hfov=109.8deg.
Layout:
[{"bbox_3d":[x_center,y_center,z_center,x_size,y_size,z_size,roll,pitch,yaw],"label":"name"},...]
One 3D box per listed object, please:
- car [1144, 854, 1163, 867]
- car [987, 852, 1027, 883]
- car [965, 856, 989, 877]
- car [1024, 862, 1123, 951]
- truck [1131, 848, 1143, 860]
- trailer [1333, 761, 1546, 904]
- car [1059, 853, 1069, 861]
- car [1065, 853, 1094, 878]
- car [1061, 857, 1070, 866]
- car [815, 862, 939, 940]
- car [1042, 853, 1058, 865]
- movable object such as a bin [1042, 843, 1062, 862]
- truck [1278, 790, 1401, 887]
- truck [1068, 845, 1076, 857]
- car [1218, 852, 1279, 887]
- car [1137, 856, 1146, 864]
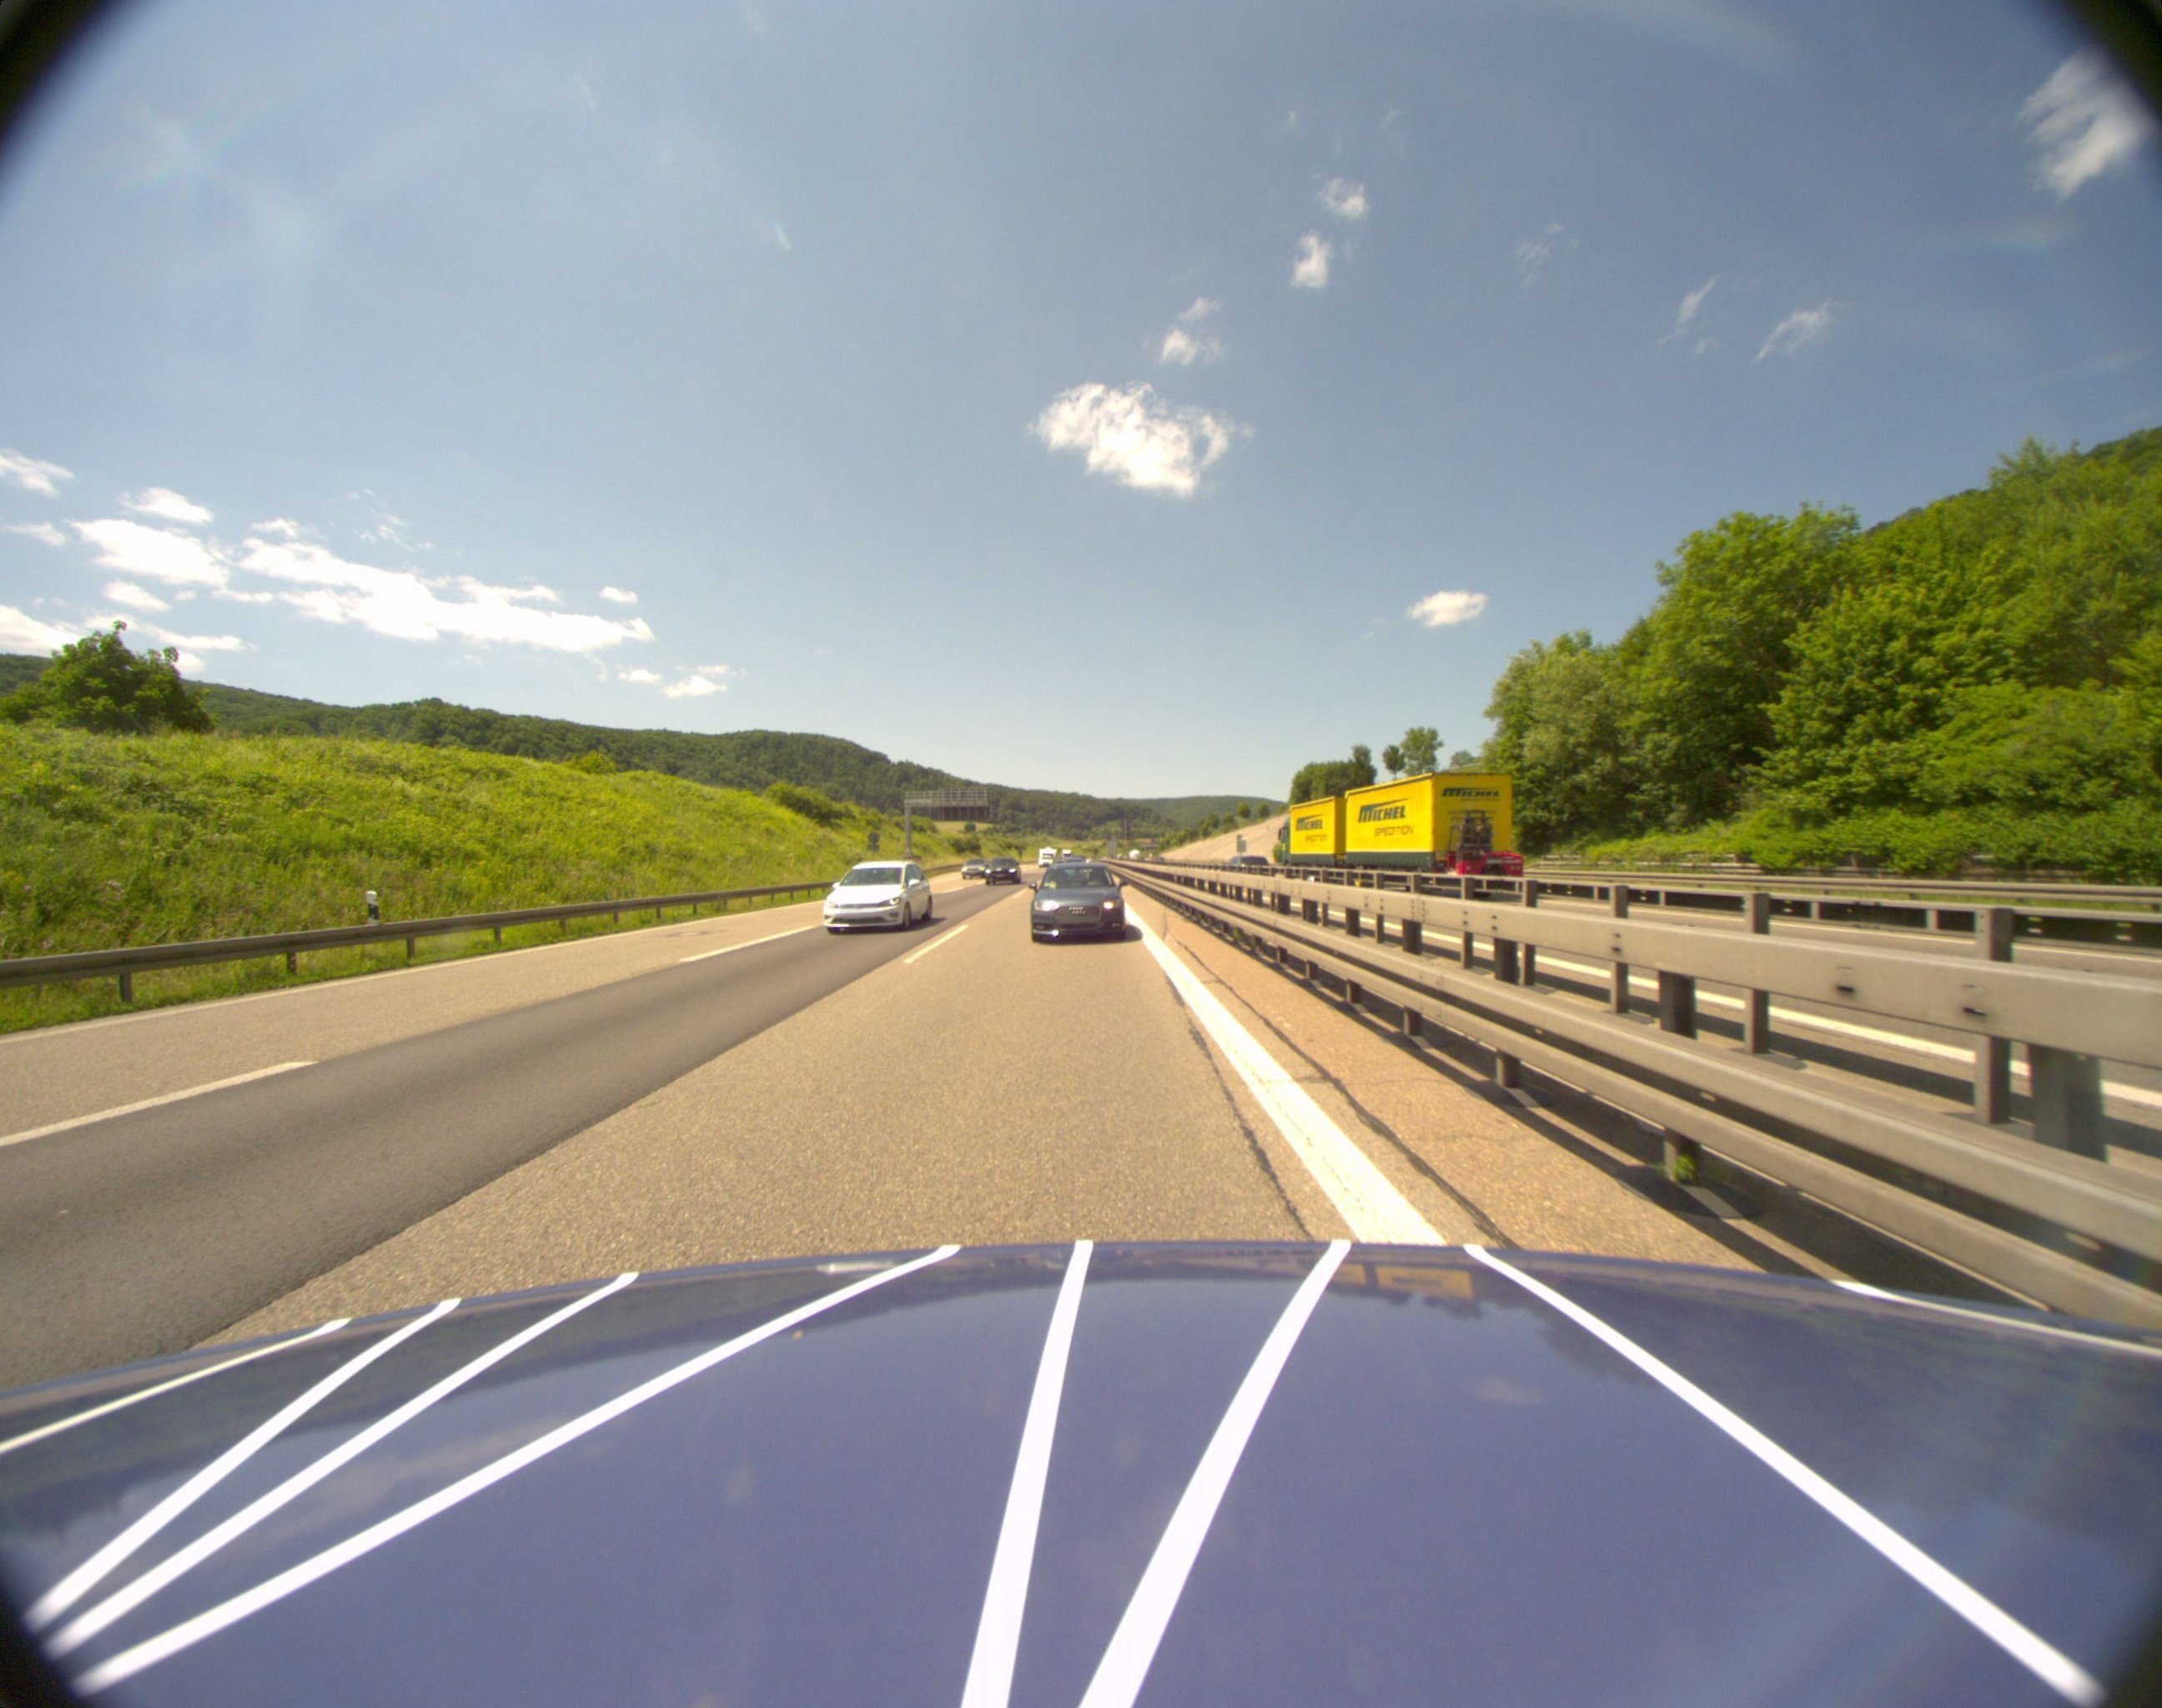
[{"bbox_3d":[8.336,0.697,87.481,1.672,1.426,3.999,-2,0,-1],"label":"car"},{"bbox_3d":[-4.439,0.805,46.110,1.893,1.761,4.172,-1,0,2],"label":"car"},{"bbox_3d":[-8.351,0.953,61.401,1.684,1.585,4.246,-2,0,-6],"label":"car"},{"bbox_3d":[-0.021,0.910,14.821,1.591,1.401,4.001,-2,0,4],"label":"car"},{"bbox_3d":[15.883,-0.017,216.021,2.618,3.035,10.990,-2,0,2],"label":"truck"},{"bbox_3d":[12.313,-0.642,27.604,2.834,4.123,10.404,-2,0,1],"label":"trailer"},{"bbox_3d":[-3.482,0.605,156.349,1.711,1.542,4.000,-1,0,1],"label":"car"},{"bbox_3d":[-0.063,0.747,50.103,1.835,1.586,4.000,-1,0,1],"label":"car"},{"bbox_3d":[-3.669,1.699,181.708,1.998,2.002,4.000,-1,1,2],"label":"car"},{"bbox_3d":[-4.660,1.004,18.005,1.777,1.532,4.054,-2,0,0],"label":"car"},{"bbox_3d":[-4.224,0.628,104.078,1.821,1.574,4.000,-1,0,1],"label":"car"},{"bbox_3d":[-4.223,-0.207,111.191,2.481,2.616,6.708,-2,0,1],"label":"movable object such as a bin"},{"bbox_3d":[12.428,-0.682,37.720,2.834,4.123,9.614,-2,0,1],"label":"truck"},{"bbox_3d":[-2.731,-1.041,237.358,2.336,3.623,7.005,-2,0,1],"label":"truck"},{"bbox_3d":[8.048,0.719,36.920,1.850,1.586,4.751,-1,0,-1],"label":"car"},{"bbox_3d":[14.196,1.411,178.568,1.998,2.002,4.001,-1,0,4],"label":"car"}]
